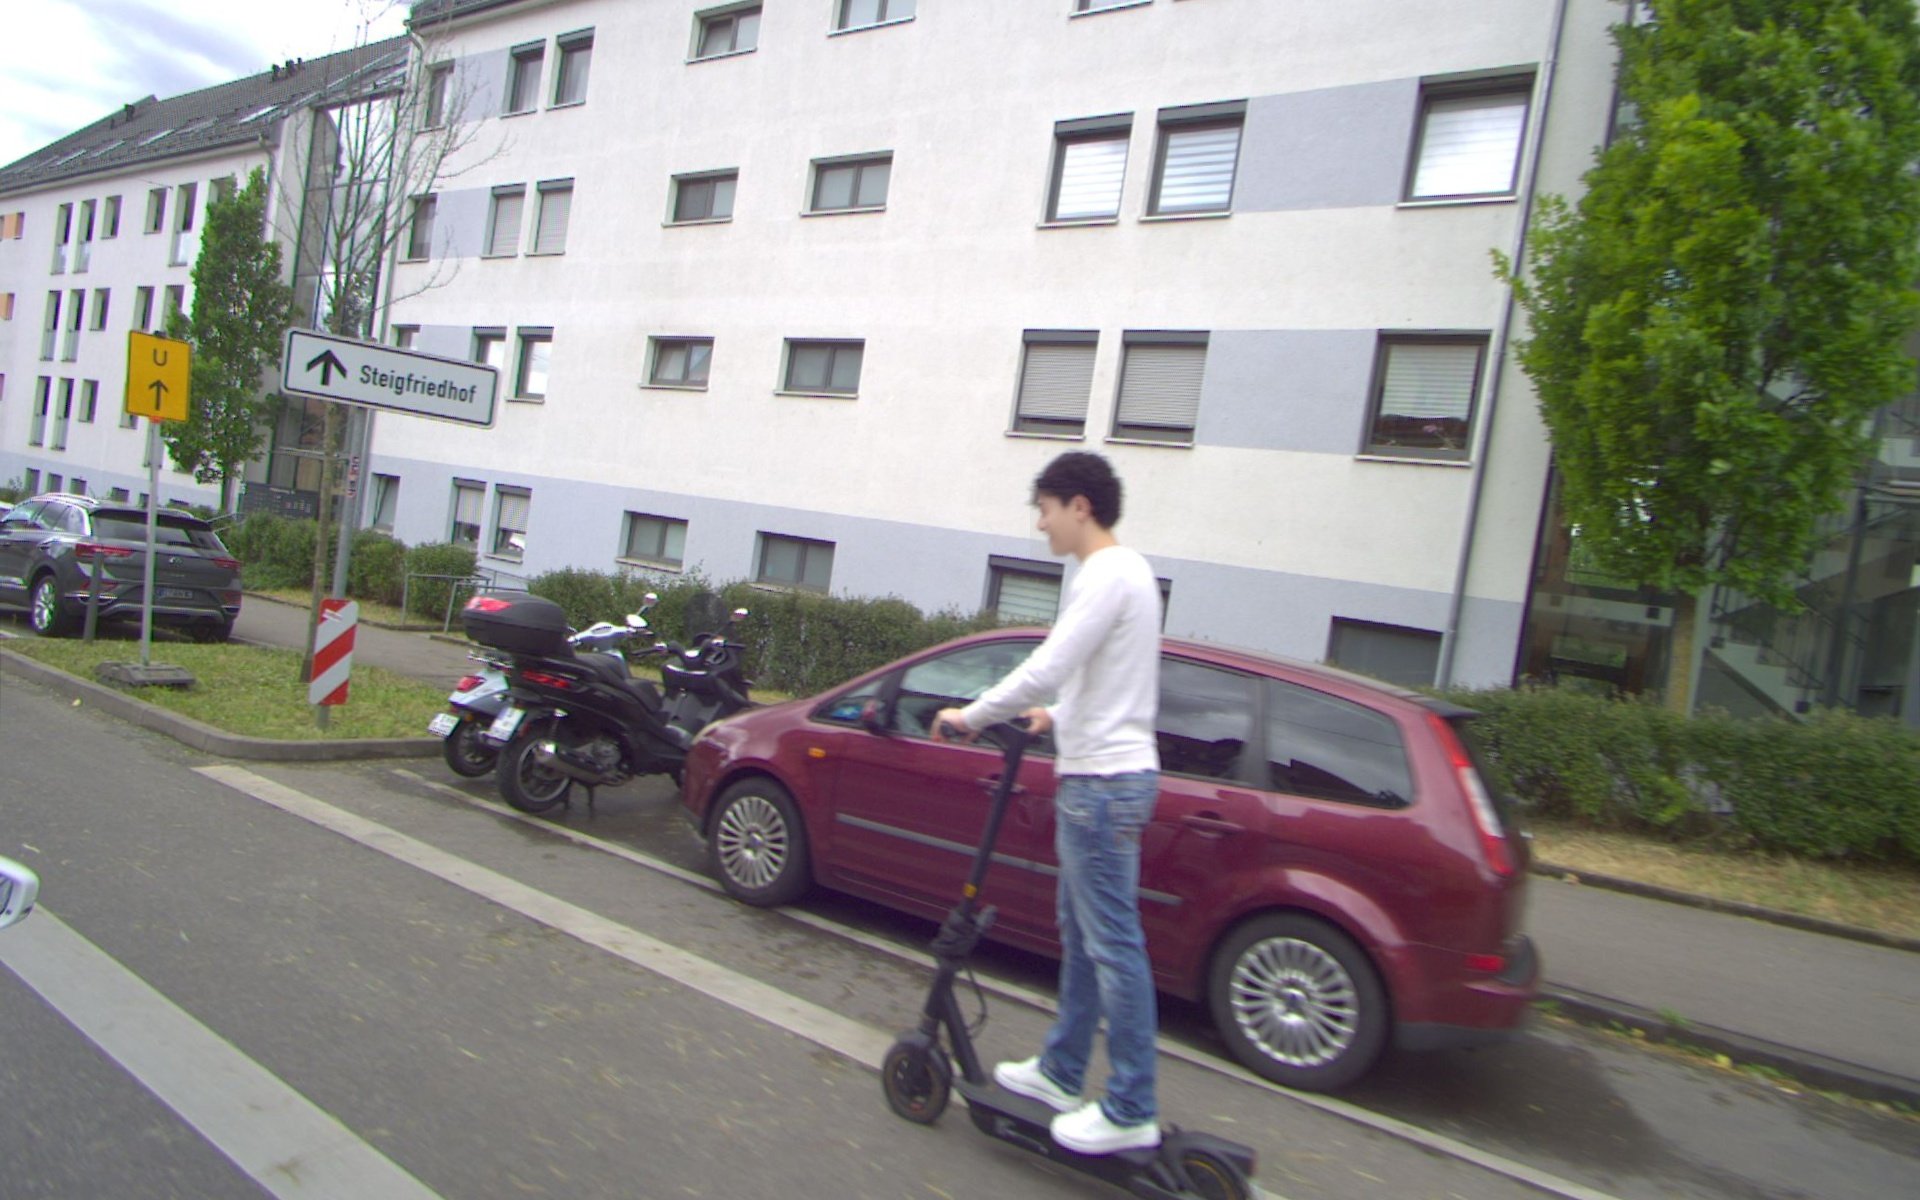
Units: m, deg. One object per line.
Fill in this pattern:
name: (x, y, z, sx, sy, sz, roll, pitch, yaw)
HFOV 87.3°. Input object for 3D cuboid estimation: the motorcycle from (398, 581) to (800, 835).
motorcycle: (-2.219, 0.675, 6.724, 0.740, 1.294, 2.604, 8, 0, 27)

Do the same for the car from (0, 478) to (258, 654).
car: (-10.728, -0.490, 12.305, 4.281, 1.669, 1.636, 7, -1, 29)

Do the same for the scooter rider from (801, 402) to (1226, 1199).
scooter rider: (0.164, 0.538, 2.834, 0.745, 2.038, 0.626, 8, 1, 31)

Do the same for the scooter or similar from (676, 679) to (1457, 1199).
scooter or similar: (0.175, 0.964, 2.830, 2.040, 1.177, 0.491, 8, 1, 31)

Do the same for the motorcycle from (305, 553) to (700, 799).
motorcycle: (-3.101, 0.536, 7.246, 0.680, 1.397, 2.604, 8, 0, 27)

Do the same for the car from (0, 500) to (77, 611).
car: (-15.149, -0.880, 14.872, 4.423, 1.430, 1.734, 7, -1, 30)

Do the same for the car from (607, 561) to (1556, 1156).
car: (0.425, 0.872, 5.091, 4.265, 1.563, 1.684, 7, 0, 30)
